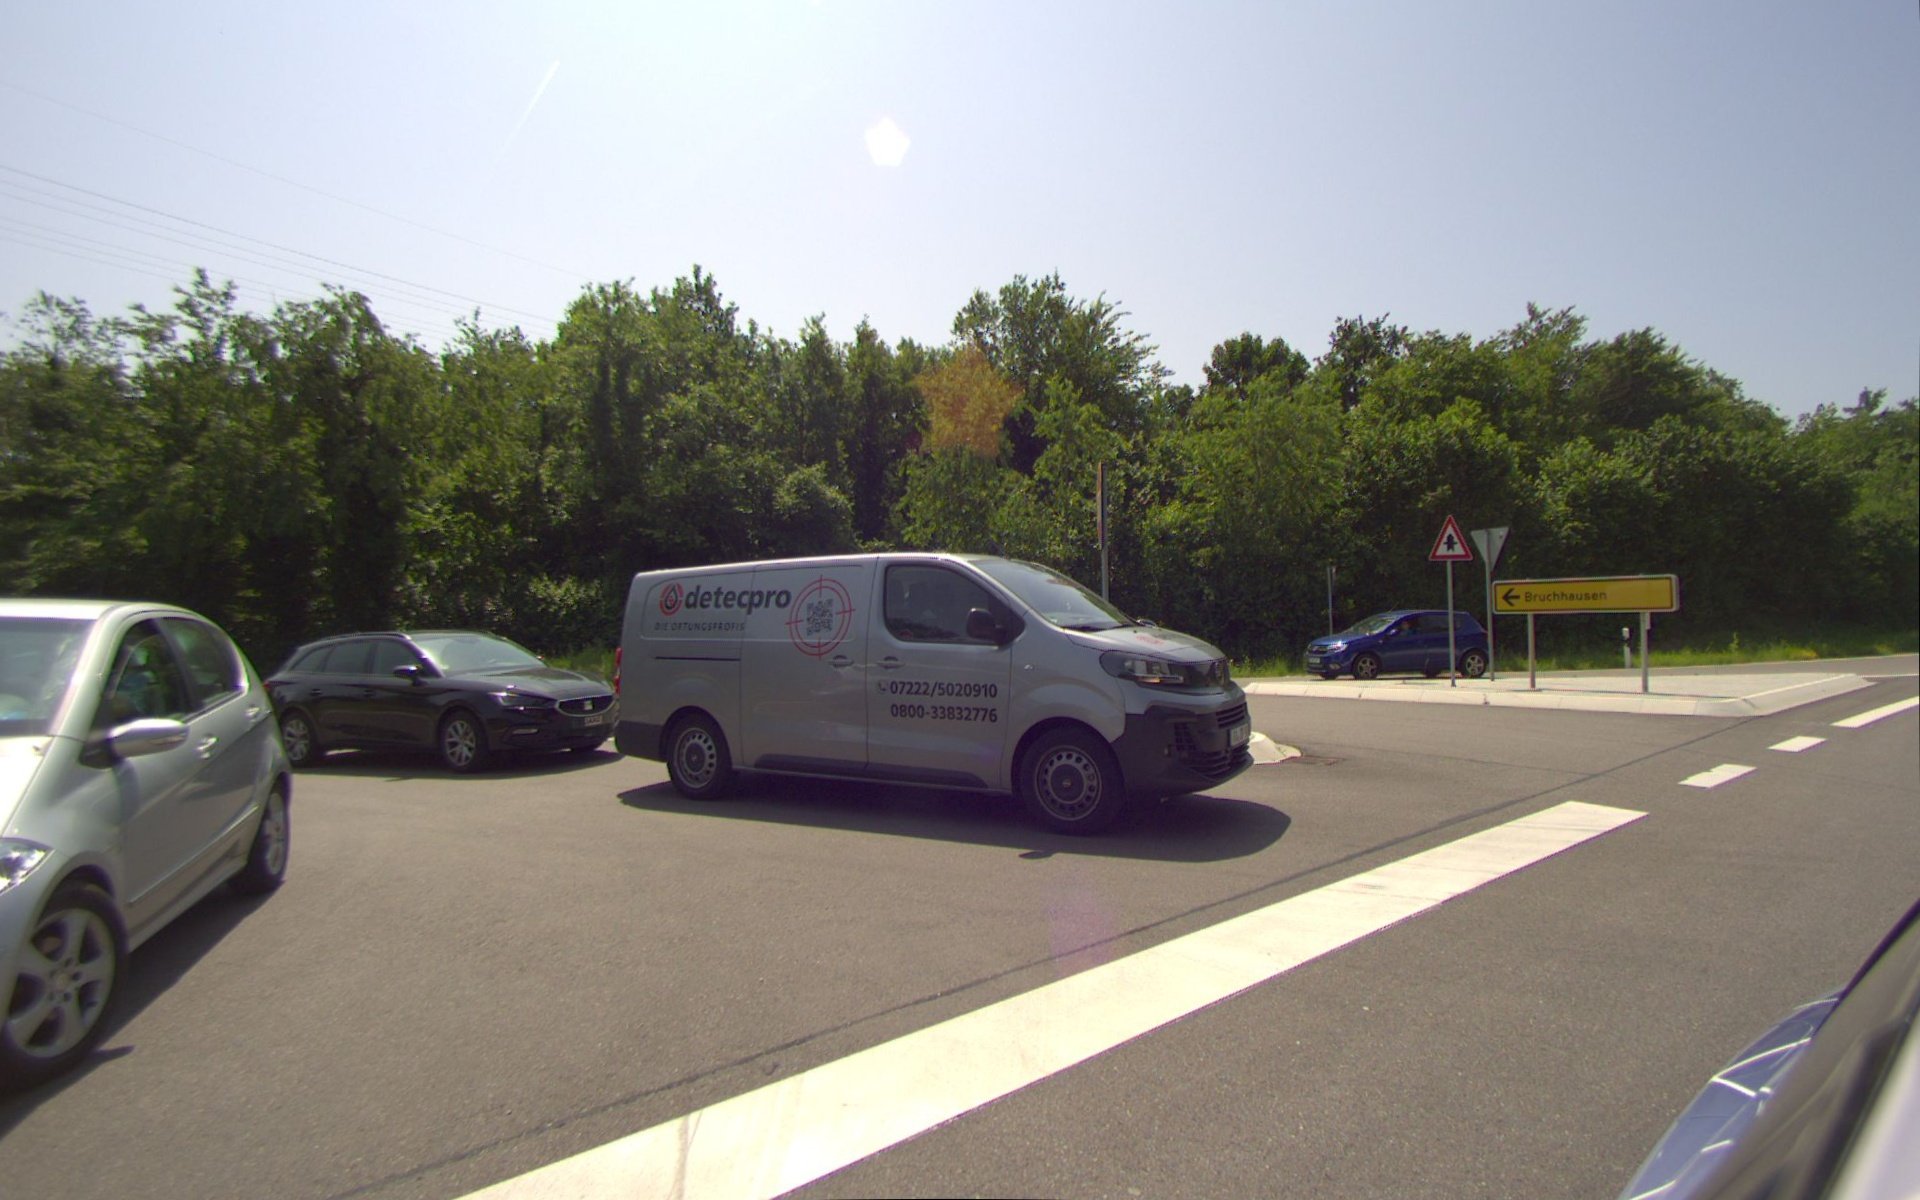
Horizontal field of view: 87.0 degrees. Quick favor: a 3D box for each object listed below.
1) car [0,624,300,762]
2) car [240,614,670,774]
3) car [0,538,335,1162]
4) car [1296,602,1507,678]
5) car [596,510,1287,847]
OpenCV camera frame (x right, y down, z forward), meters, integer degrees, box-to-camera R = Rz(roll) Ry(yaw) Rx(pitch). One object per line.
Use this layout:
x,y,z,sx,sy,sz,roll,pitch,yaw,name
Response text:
-11.568,1.300,14.208,4.046,1.619,1.799,-4,-1,21,car
-5.666,1.028,11.306,4.513,1.493,1.853,-4,-2,24,car
-4.038,0.727,4.107,1.807,1.600,4.000,-3,-1,-21,car
9.722,0.867,22.449,3.864,1.561,1.811,0,-2,-8,car
-0.319,0.528,8.019,5.187,1.931,1.992,-3,-1,31,car
